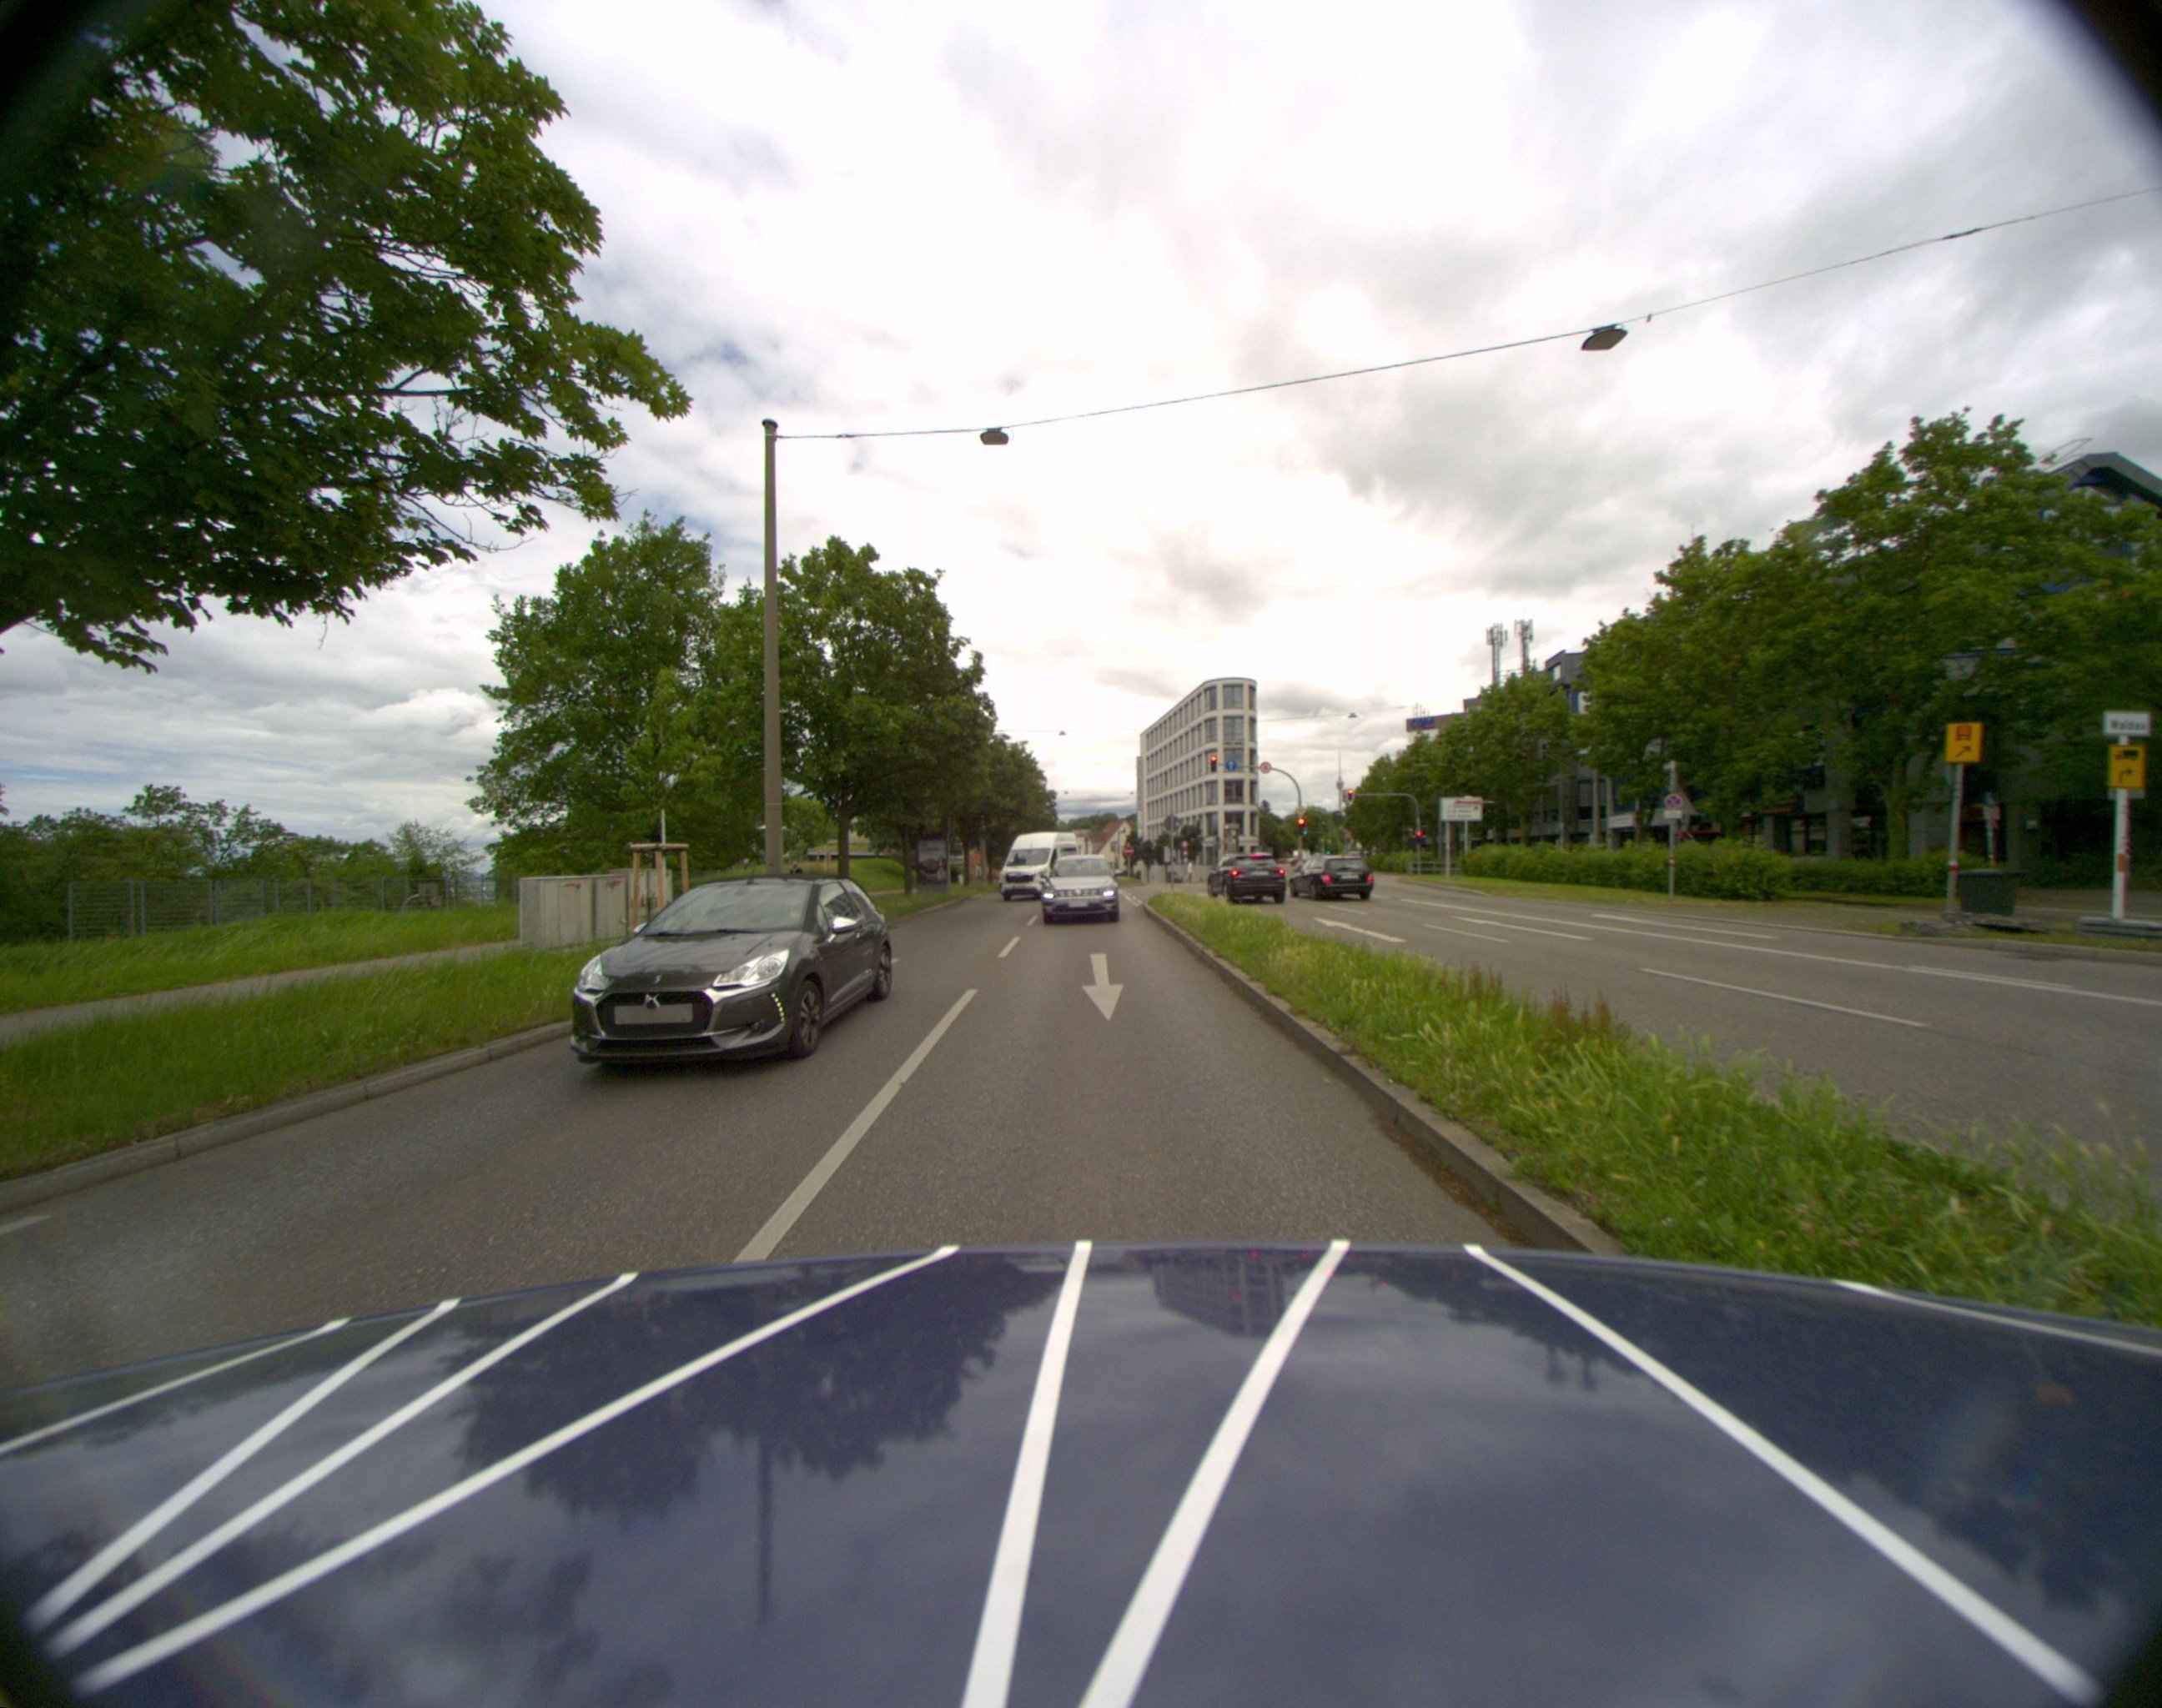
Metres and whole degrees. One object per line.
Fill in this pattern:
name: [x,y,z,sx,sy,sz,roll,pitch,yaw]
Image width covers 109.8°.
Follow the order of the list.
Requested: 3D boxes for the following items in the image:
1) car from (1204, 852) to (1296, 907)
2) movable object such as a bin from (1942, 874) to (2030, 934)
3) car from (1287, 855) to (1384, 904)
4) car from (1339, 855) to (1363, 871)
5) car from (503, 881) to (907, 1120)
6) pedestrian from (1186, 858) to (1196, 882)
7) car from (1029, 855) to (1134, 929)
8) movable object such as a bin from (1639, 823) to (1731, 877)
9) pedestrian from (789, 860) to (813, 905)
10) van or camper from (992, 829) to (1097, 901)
car: [5.306,0.794,24.451,1.893,1.555,4.396,-2,-1,0]
movable object such as a bin: [16.145,0.885,13.577,0.565,1.006,0.838,-1,0,3]
car: [8.259,0.818,25.054,1.787,1.417,4.397,-2,-1,2]
car: [27.247,0.928,76.860,1.786,1.528,4.401,-2,-1,13]
car: [-3.001,1.063,7.158,1.705,1.452,4.063,-2,-1,1]
pedestrian: [8.620,1.246,59.358,0.755,1.906,0.588,-1,-1,11]
car: [0.144,0.886,19.585,1.832,1.635,4.330,-2,-1,11]
movable object such as a bin: [29.940,-0.179,37.829,1.908,2.517,4.130,-1,0,12]
pedestrian: [-10.322,1.054,28.026,0.542,1.594,0.702,4,-1,0]
van or camper: [-1.367,0.417,31.979,2.107,2.674,6.308,-2,-1,19]
